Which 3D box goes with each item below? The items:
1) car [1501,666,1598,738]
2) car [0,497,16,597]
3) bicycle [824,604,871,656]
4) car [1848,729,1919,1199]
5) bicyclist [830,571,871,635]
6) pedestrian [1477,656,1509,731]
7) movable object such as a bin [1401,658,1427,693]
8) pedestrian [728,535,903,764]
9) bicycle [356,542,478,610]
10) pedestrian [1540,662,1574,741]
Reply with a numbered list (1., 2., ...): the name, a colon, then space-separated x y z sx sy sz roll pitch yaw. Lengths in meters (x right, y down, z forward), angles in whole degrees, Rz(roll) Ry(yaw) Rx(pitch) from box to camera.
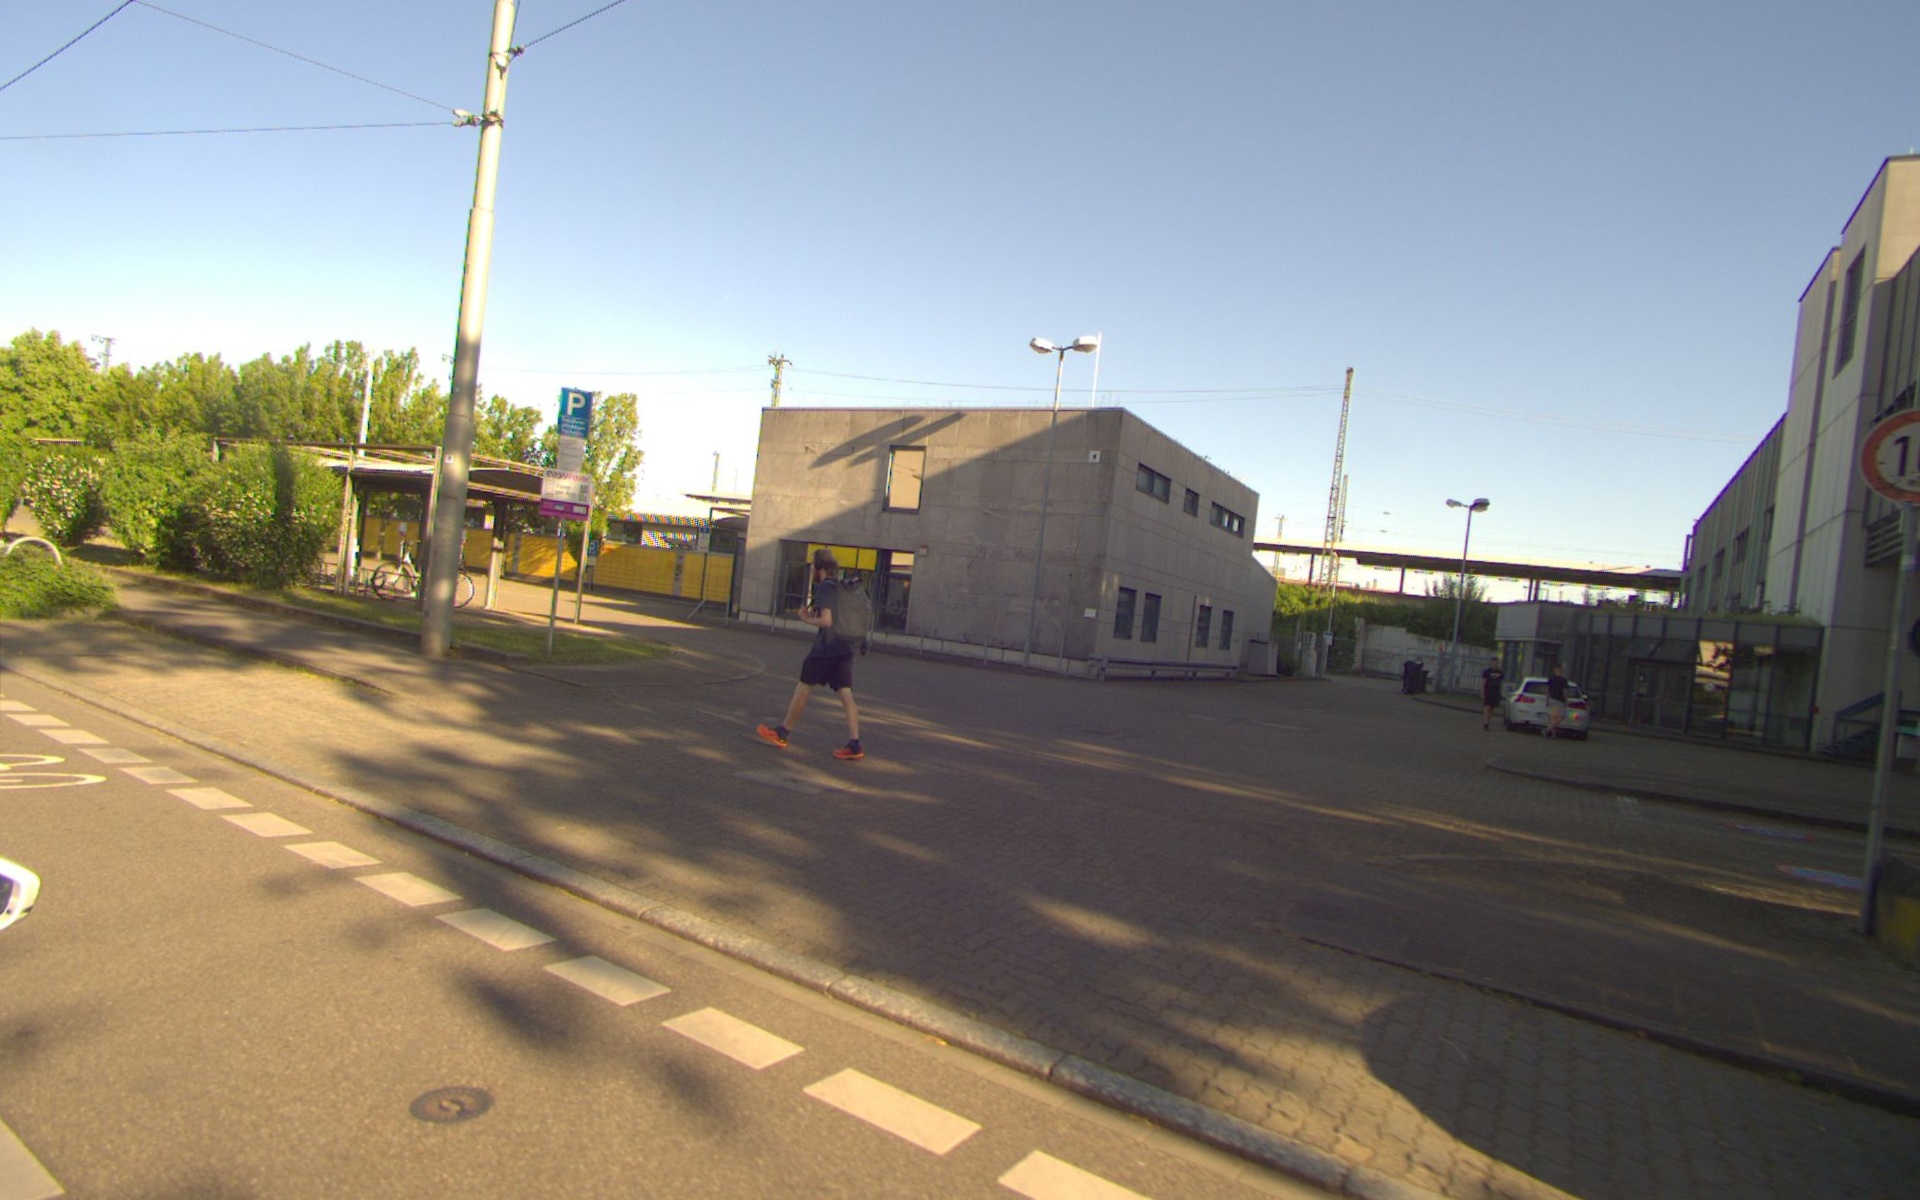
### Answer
1. car: 15.195 2.629 25.958 1.870 1.491 4.082 6 -2 31
2. car: -16.186 -1.007 15.122 4.426 1.436 1.677 6 1 30
3. bicycle: -2.647 0.687 23.548 0.742 1.083 2.005 7 -2 -13
4. car: 4.913 1.376 1.830 4.581 1.499 1.704 6 0 32
5. bicyclist: -2.562 0.070 23.539 0.719 1.400 0.580 7 -1 -15
6. pedestrian: 13.331 2.343 25.161 0.503 1.801 0.481 7 -1 33
7. movable object such as a bin: 18.425 3.075 40.815 0.767 1.294 0.903 6 -1 31
8. pedestrian: -1.283 0.393 8.852 1.282 1.814 0.670 6 4 31
9. bicycle: -10.368 -0.442 19.267 0.569 1.020 1.893 6 -2 43
10. pedestrian: 14.162 2.407 23.867 0.503 1.801 0.481 7 -1 33
